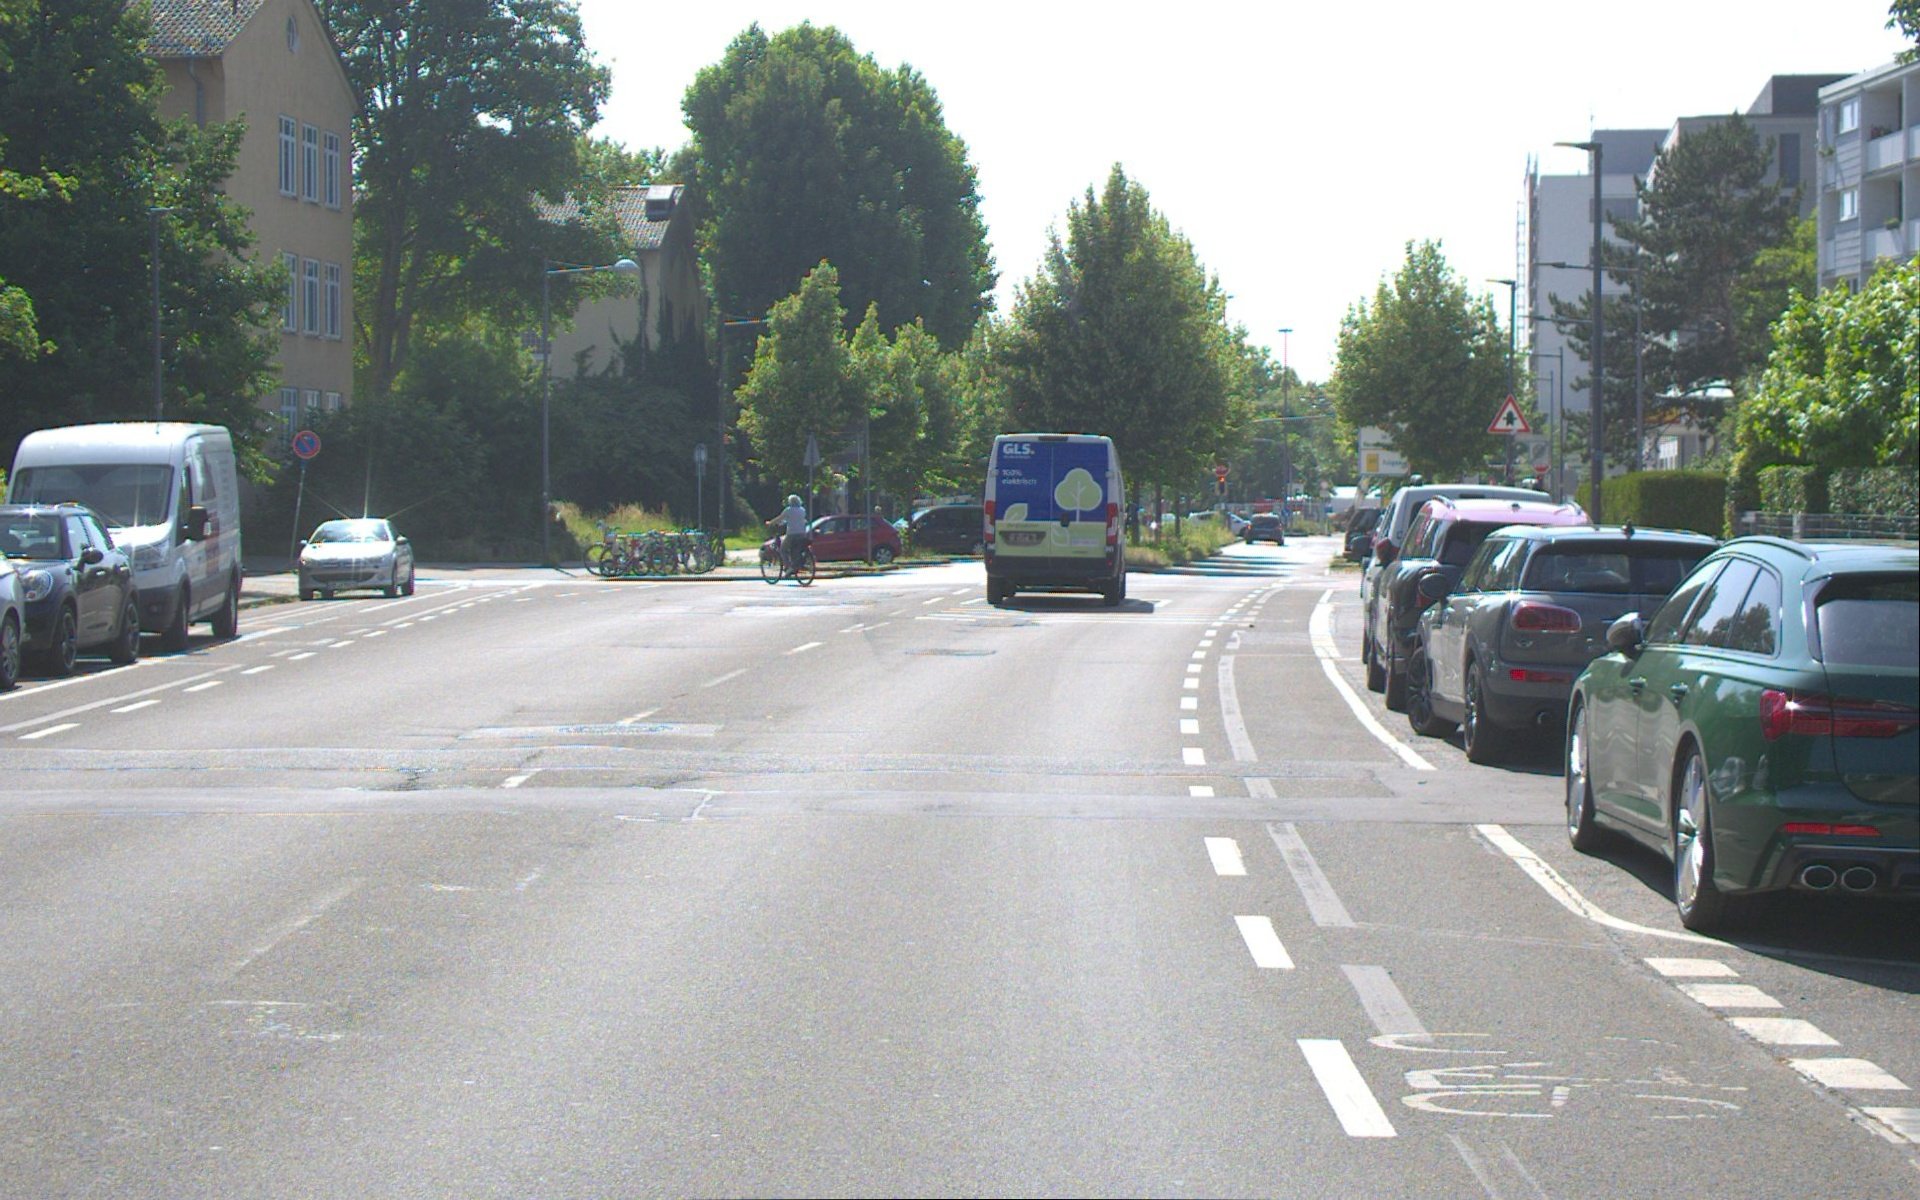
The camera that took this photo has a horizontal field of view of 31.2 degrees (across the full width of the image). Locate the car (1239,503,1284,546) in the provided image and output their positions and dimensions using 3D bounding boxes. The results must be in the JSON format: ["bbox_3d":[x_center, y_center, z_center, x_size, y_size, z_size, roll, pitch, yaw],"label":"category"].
[{"bbox_3d":[14.220,-3.557,162.236,1.908,2.007,4.000,-1,1,3],"label":"car"}]

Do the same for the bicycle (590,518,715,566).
[{"bbox_3d":[-6.914,-1.304,77.282,2.687,1.044,1.026,-1,1,-10],"label":"bicycle"}]

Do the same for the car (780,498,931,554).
[{"bbox_3d":[-2.912,-2.055,95.458,3.986,1.485,1.629,-1,1,-11],"label":"car"}]

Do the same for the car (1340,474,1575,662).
[{"bbox_3d":[4.686,-0.344,32.822,1.700,1.671,3.775,-1,2,0],"label":"car"}]

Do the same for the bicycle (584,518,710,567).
[{"bbox_3d":[-6.939,-1.276,76.156,2.687,1.044,1.026,-1,1,-10],"label":"bicycle"}]

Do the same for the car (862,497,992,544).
[{"bbox_3d":[-1.083,-2.580,111.809,3.986,1.485,1.629,-1,1,-11],"label":"car"}]

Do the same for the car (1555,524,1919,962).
[{"bbox_3d":[3.542,0.442,13.469,1.785,1.394,4.324,2,2,2],"label":"car"}]

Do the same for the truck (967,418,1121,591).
[{"bbox_3d":[1.345,-1.474,53.393,2.272,2.562,4.392,-1,1,2],"label":"truck"}]

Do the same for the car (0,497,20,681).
[{"bbox_3d":[-8.750,-0.036,26.677,1.835,1.491,3.654,0,2,1],"label":"car"}]

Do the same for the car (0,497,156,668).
[{"bbox_3d":[-8.843,-0.197,32.038,1.754,1.491,3.654,-1,2,1],"label":"car"}]

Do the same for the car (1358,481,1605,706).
[{"bbox_3d":[4.106,-0.111,27.520,1.701,1.671,3.774,0,2,5],"label":"car"}]

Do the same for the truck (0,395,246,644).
[{"bbox_3d":[-9.272,-0.914,37.989,2.080,2.528,5.468,-1,2,-5],"label":"truck"}]

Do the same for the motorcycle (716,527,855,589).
[{"bbox_3d":[-3.306,-0.799,64.684,1.057,1.118,2.991,-2,2,-39],"label":"motorcycle"}]

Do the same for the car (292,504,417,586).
[{"bbox_3d":[-10.484,-0.973,59.711,1.754,1.339,3.655,-1,2,-4],"label":"car"}]

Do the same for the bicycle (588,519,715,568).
[{"bbox_3d":[-6.735,-1.241,75.072,2.664,1.023,1.026,-1,1,-10],"label":"bicycle"}]

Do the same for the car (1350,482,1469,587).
[{"bbox_3d":[7.496,-1.111,57.098,1.701,1.671,3.773,0,2,11],"label":"car"}]

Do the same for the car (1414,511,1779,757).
[{"bbox_3d":[3.961,0.164,21.990,1.785,1.395,4.122,1,1,4],"label":"car"}]

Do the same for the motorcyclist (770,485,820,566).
[{"bbox_3d":[-3.093,-1.395,64.396,0.672,1.513,0.652,-1,1,-34],"label":"motorcyclist"}]
